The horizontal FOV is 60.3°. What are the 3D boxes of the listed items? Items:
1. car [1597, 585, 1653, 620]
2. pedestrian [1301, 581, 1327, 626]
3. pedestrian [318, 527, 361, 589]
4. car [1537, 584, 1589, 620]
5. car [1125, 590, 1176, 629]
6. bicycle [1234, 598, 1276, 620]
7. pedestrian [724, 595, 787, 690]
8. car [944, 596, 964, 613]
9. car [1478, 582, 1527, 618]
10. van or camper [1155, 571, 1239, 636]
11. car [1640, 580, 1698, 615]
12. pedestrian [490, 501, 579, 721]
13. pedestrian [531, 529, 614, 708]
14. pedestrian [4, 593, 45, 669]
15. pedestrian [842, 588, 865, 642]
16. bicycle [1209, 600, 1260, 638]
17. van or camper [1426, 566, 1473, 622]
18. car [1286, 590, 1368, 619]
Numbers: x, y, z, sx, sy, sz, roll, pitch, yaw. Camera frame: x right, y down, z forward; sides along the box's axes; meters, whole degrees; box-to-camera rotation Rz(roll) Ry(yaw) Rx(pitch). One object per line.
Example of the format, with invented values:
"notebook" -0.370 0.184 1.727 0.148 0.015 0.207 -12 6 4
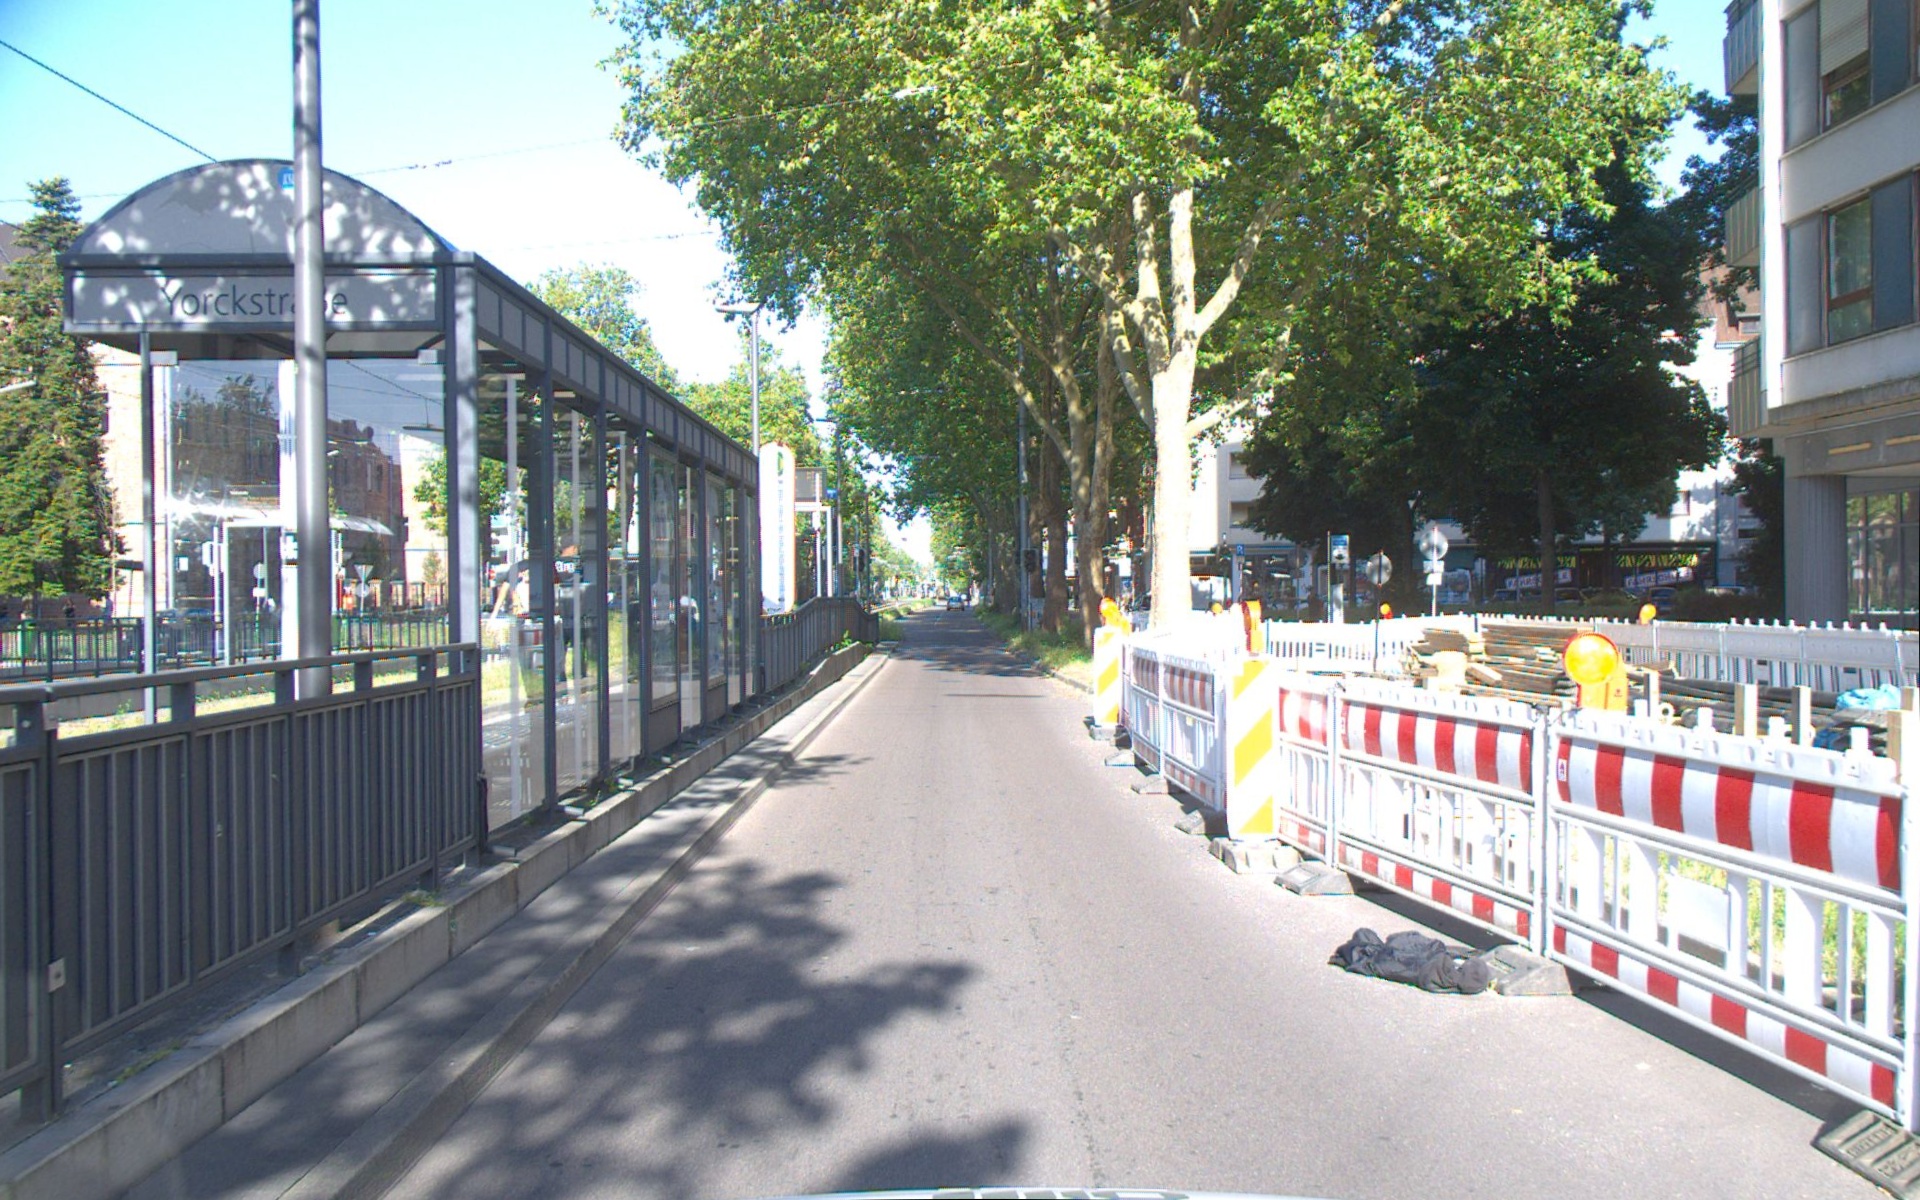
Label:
"car" 32.605 0.091 81.224 1.951 1.656 4.393 -1 0 14
"pedestrian" 13.124 0.118 61.329 0.717 1.644 1.035 -1 0 0
"pedestrian" -18.075 -1.215 48.192 0.933 1.766 0.730 -1 0 2
"car" 29.832 0.082 81.943 1.951 1.698 4.749 -1 0 14
"car" 8.923 0.415 77.807 1.782 1.772 5.167 -1 0 0
"bicycle" 15.369 0.484 86.243 2.096 1.123 0.508 -1 0 25
"pedestrian" -2.632 0.538 21.349 0.737 1.199 0.812 0 0 -2
"car" -0.621 0.446 164.961 1.980 1.691 3.999 0 0 -1
"car" 26.947 -0.024 82.263 1.951 1.698 4.749 -1 0 14
"van or camper" 8.842 0.135 62.269 2.244 2.326 5.822 0 0 -1
"car" 34.556 -0.132 80.716 1.951 1.656 4.393 -1 0 14
"pedestrian" -4.051 0.103 15.779 0.654 2.049 0.716 0 0 0
"pedestrian" -3.997 0.188 17.108 0.668 1.815 0.754 0 0 1
"pedestrian" -25.691 0.835 45.430 0.649 2.049 0.860 -1 0 -1
"pedestrian" -3.361 0.466 52.361 0.697 1.710 0.772 -1 0 -2
"bicycle" 9.667 0.663 58.345 1.572 1.285 0.962 -1 0 -5
"van or camper" 24.541 -0.319 83.110 2.101 2.682 5.592 -1 0 15
"car" 21.115 0.234 95.061 4.489 1.608 2.002 0 0 15
